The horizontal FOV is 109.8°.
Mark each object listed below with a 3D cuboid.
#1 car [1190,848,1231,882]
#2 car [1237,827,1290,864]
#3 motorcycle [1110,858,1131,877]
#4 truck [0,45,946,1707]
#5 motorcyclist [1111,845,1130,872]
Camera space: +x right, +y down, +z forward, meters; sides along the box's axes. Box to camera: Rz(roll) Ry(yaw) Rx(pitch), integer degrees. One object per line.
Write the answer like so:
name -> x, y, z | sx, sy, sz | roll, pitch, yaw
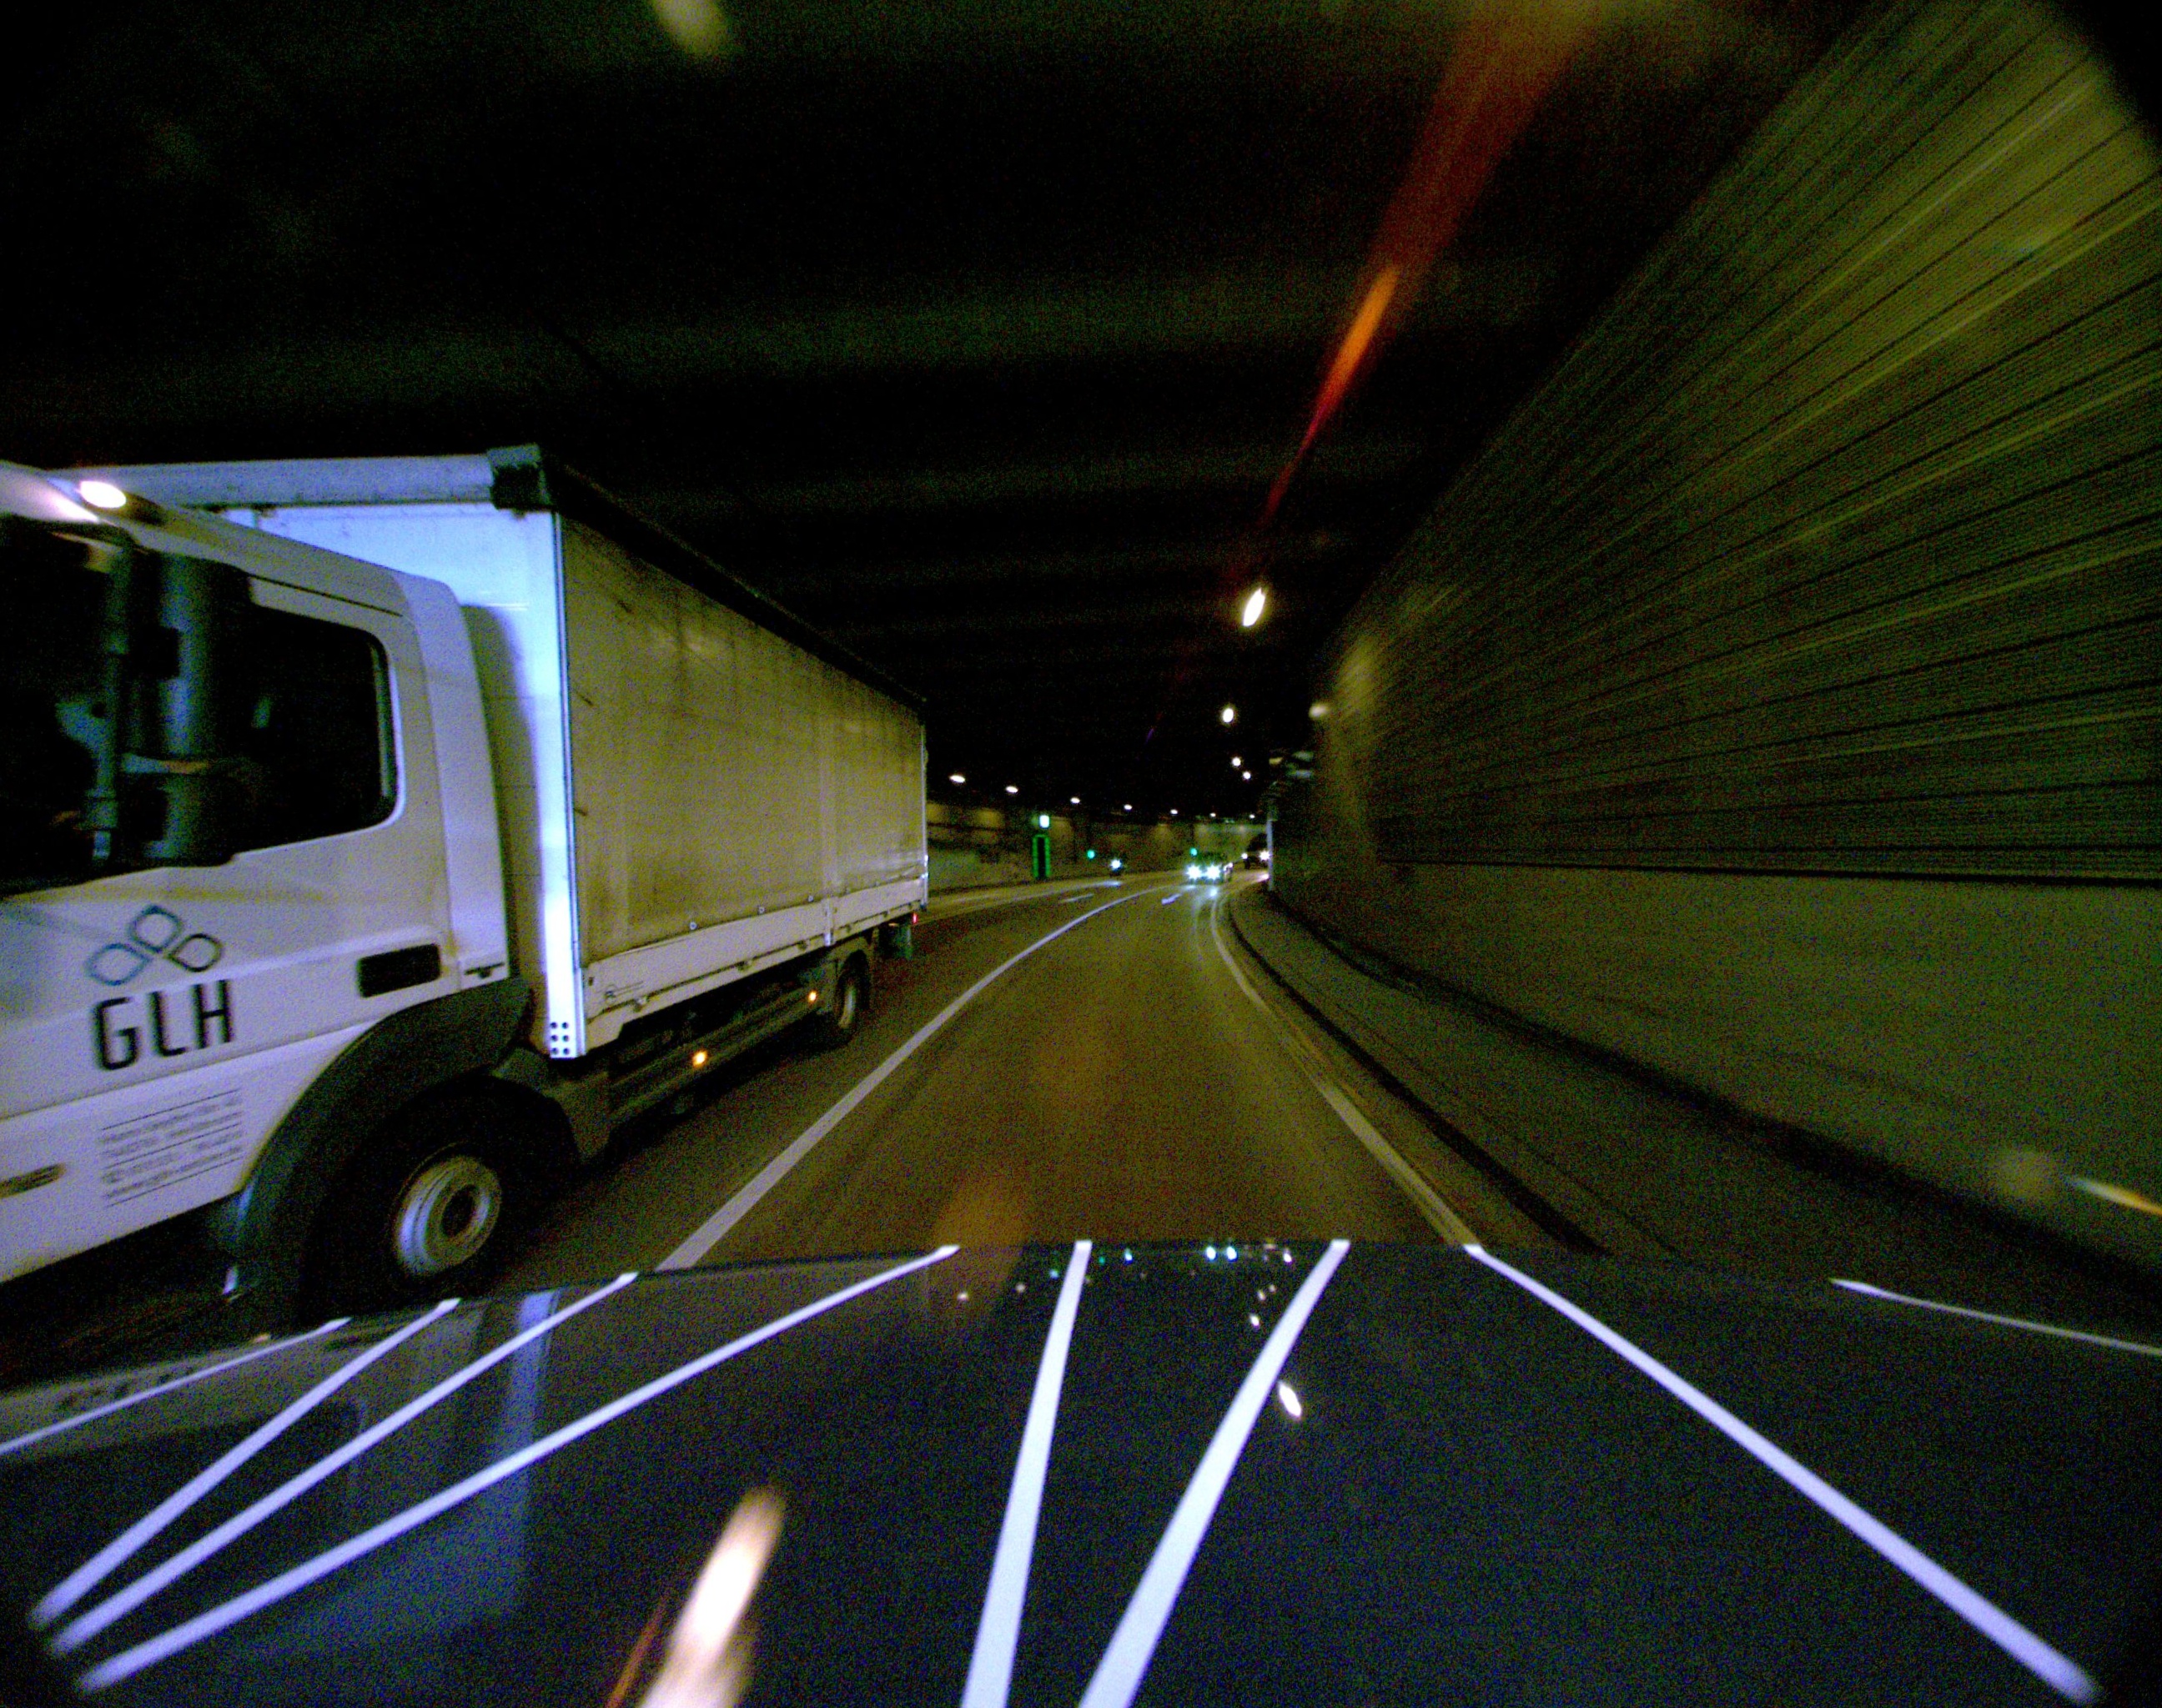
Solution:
car -> 6.287, 0.509, 36.568 | 1.720, 1.455, 4.003 | -2, 1, 12
car -> 15.070, -0.735, 62.359 | 2.555, 2.752, 7.363 | -2, 1, 27
motorcycle -> 2.262, 0.757, 42.961 | 0.549, 0.970, 1.837 | -4, 0, 23
truck -> -3.106, 0.079, 4.671 | 2.635, 3.220, 7.417 | -2, 1, 4
motorcyclist -> 2.246, 0.260, 42.962 | 0.745, 1.482, 0.788 | -4, 1, 21
